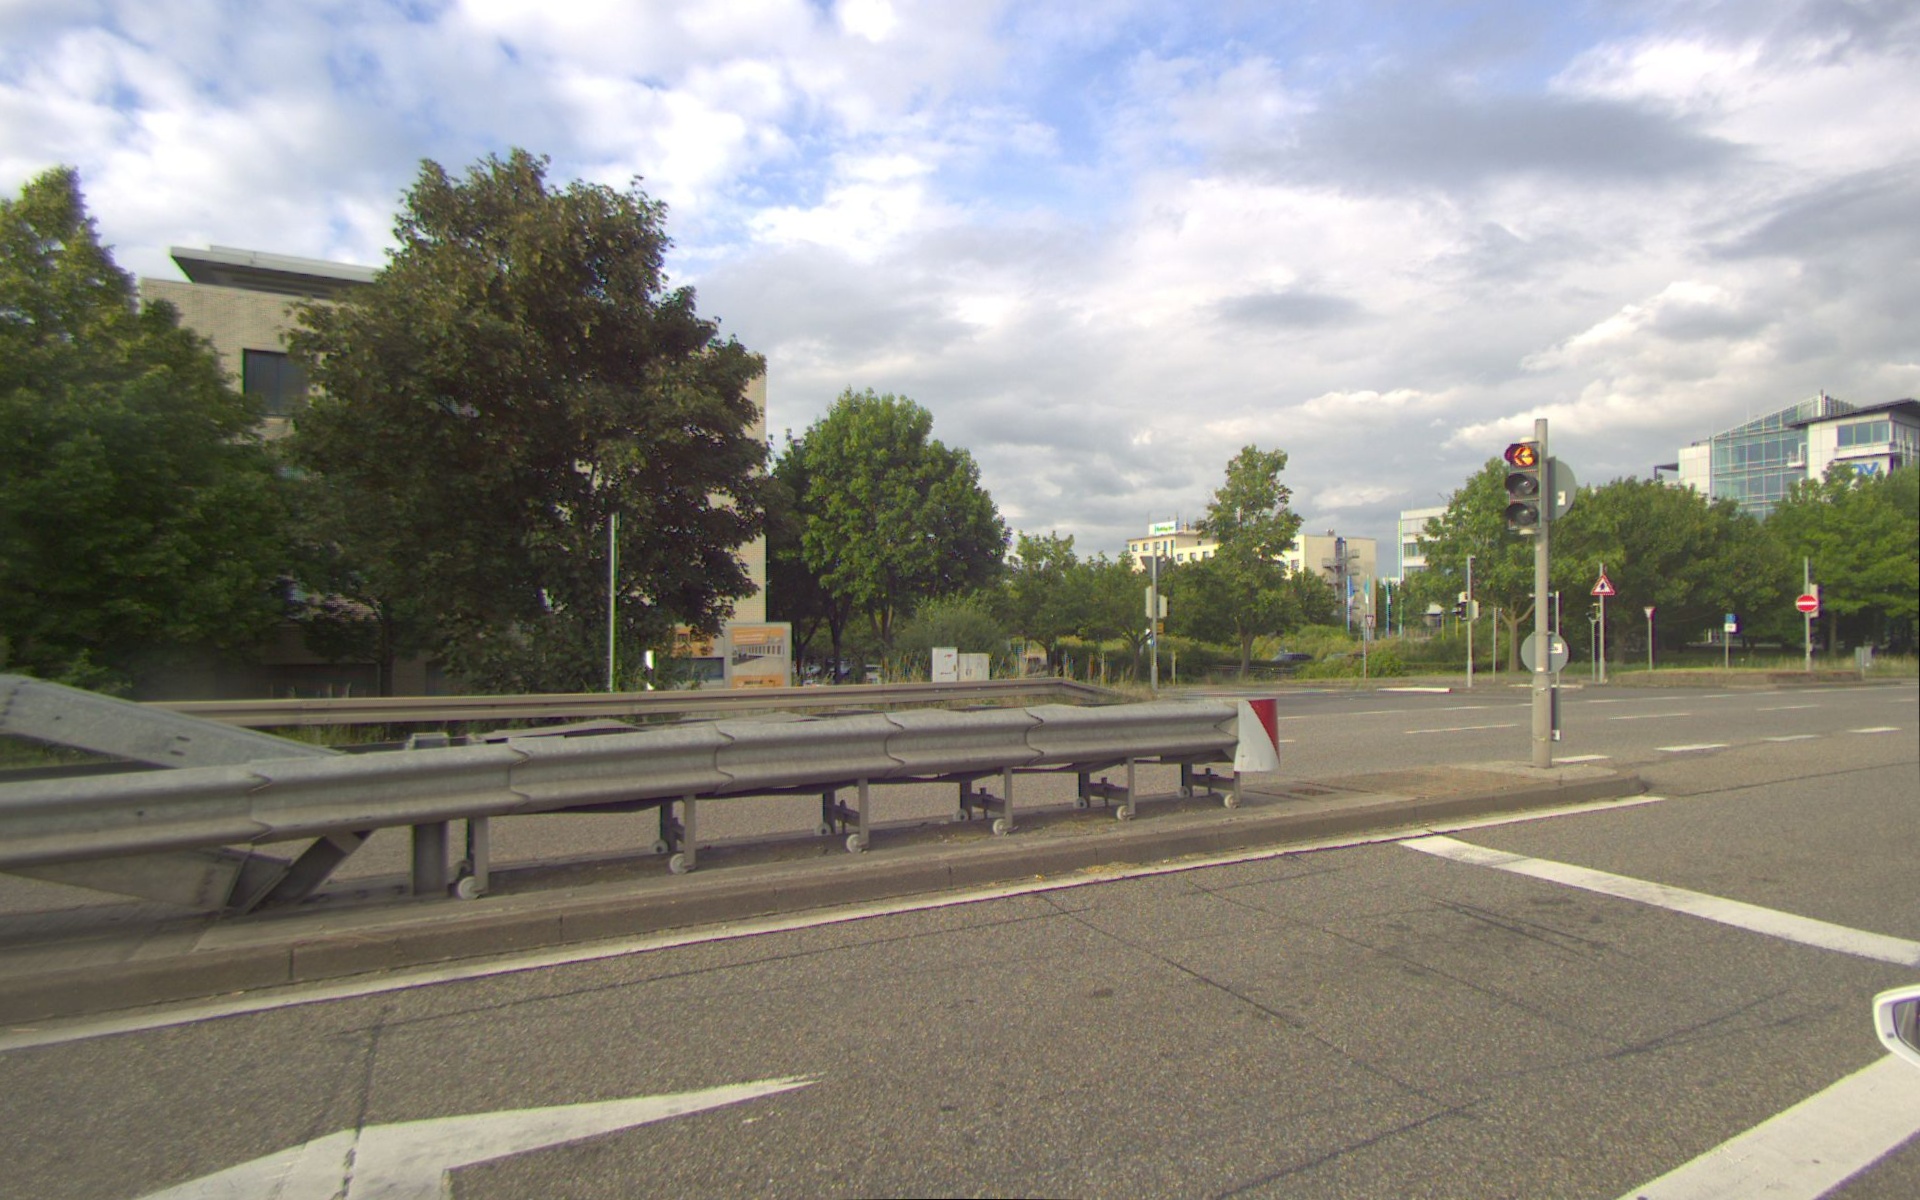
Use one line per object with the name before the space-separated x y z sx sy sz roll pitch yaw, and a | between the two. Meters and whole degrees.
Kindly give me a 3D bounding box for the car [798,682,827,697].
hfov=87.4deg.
car | -13.558 8.226 92.395 1.566 1.359 3.727 1 -5 -27
